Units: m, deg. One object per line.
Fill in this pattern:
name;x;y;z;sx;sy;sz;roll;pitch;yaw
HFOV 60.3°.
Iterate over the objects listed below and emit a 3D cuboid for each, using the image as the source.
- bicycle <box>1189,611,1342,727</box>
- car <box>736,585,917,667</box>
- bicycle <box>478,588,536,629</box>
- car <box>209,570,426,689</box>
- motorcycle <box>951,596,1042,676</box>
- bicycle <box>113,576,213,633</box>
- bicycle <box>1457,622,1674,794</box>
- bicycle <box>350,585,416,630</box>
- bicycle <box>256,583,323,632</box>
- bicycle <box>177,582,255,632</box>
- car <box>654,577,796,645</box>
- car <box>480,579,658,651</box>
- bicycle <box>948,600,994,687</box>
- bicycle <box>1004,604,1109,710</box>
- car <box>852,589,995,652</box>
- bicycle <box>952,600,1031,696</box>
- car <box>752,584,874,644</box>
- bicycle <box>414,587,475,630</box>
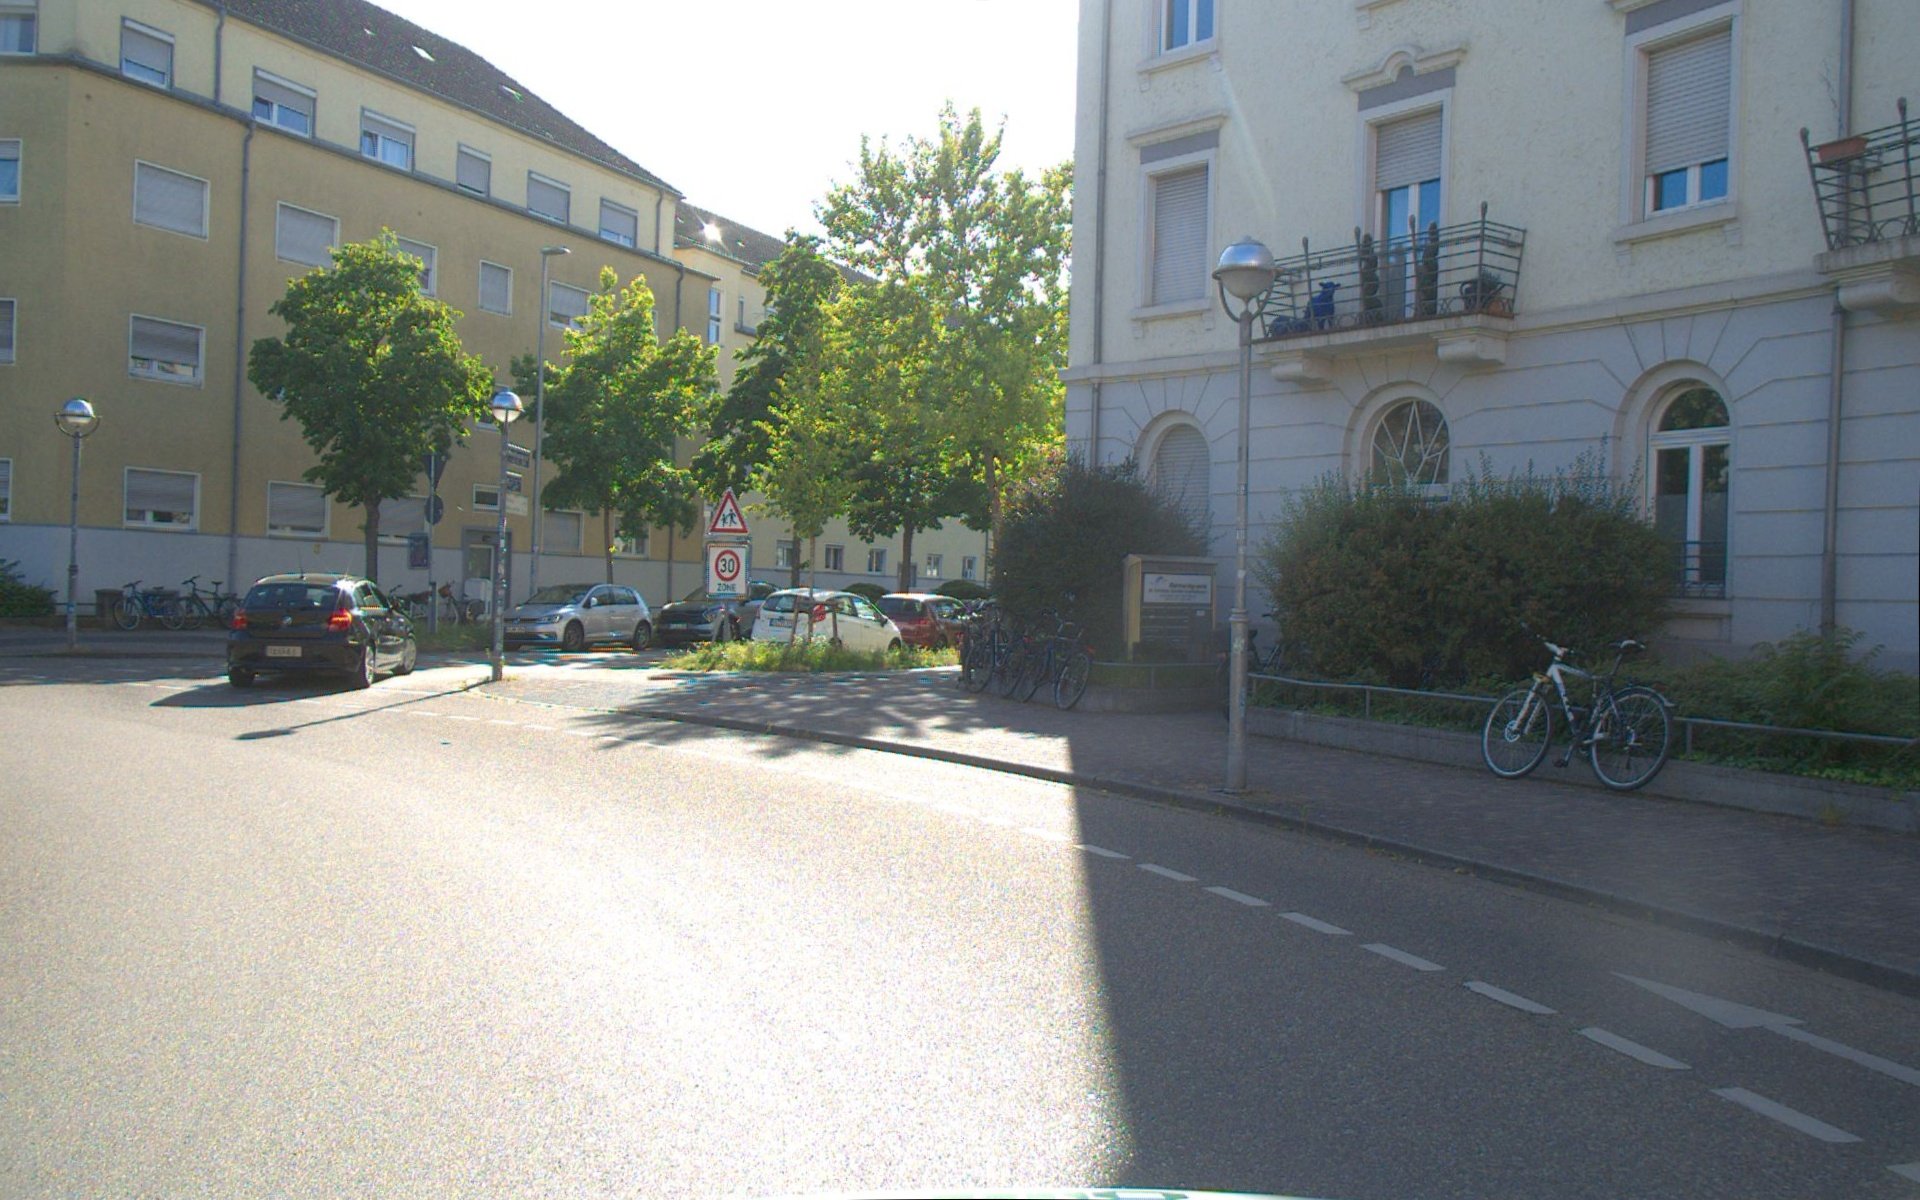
bicycle;3.128;0.678;16.864;1.662;1.127;0.494;0;0;-33
car;-2.500;0.496;32.043;1.758;1.437;3.997;2;0;24
bicycle;-11.796;0.217;43.095;0.490;1.044;1.444;1;0;36
car;-8.483;0.338;22.182;1.830;1.444;3.993;0;1;-8
motorcycle;0.592;0.551;25.965;0.868;1.212;1.488;-1;0;26
bicycle;-16.271;0.106;33.786;1.778;1.127;0.494;1;0;-34
bicycle;4.343;0.736;11.986;0.494;1.107;1.675;0;1;-22
bicycle;-13.693;0.188;39.269;0.490;1.044;1.444;1;0;36
bicycle;-14.914;0.165;36.833;0.488;1.044;1.449;1;0;23
bicycle;-15.847;0.150;35.248;1.432;1.044;0.494;1;0;-34
car;-5.772;0.280;41.134;1.757;1.603;4.000;1;0;21
car;-8.305;0.324;35.495;1.761;1.436;4.000;1;0;21
bicycle;0.164;0.585;23.085;0.488;1.127;1.951;1;1;4
bicycle;1.089;0.631;19.060;0.491;1.127;1.788;1;1;-22
car;-0.743;0.434;36.236;1.758;1.277;3.717;1;0;23
bicycle;0.376;0.579;20.834;0.490;1.127;1.793;1;1;-15
car;-3.982;0.380;45.440;1.757;1.537;4.000;1;0;21
bicycle;-12.810;0.208;41.116;0.490;1.044;1.444;1;0;36
